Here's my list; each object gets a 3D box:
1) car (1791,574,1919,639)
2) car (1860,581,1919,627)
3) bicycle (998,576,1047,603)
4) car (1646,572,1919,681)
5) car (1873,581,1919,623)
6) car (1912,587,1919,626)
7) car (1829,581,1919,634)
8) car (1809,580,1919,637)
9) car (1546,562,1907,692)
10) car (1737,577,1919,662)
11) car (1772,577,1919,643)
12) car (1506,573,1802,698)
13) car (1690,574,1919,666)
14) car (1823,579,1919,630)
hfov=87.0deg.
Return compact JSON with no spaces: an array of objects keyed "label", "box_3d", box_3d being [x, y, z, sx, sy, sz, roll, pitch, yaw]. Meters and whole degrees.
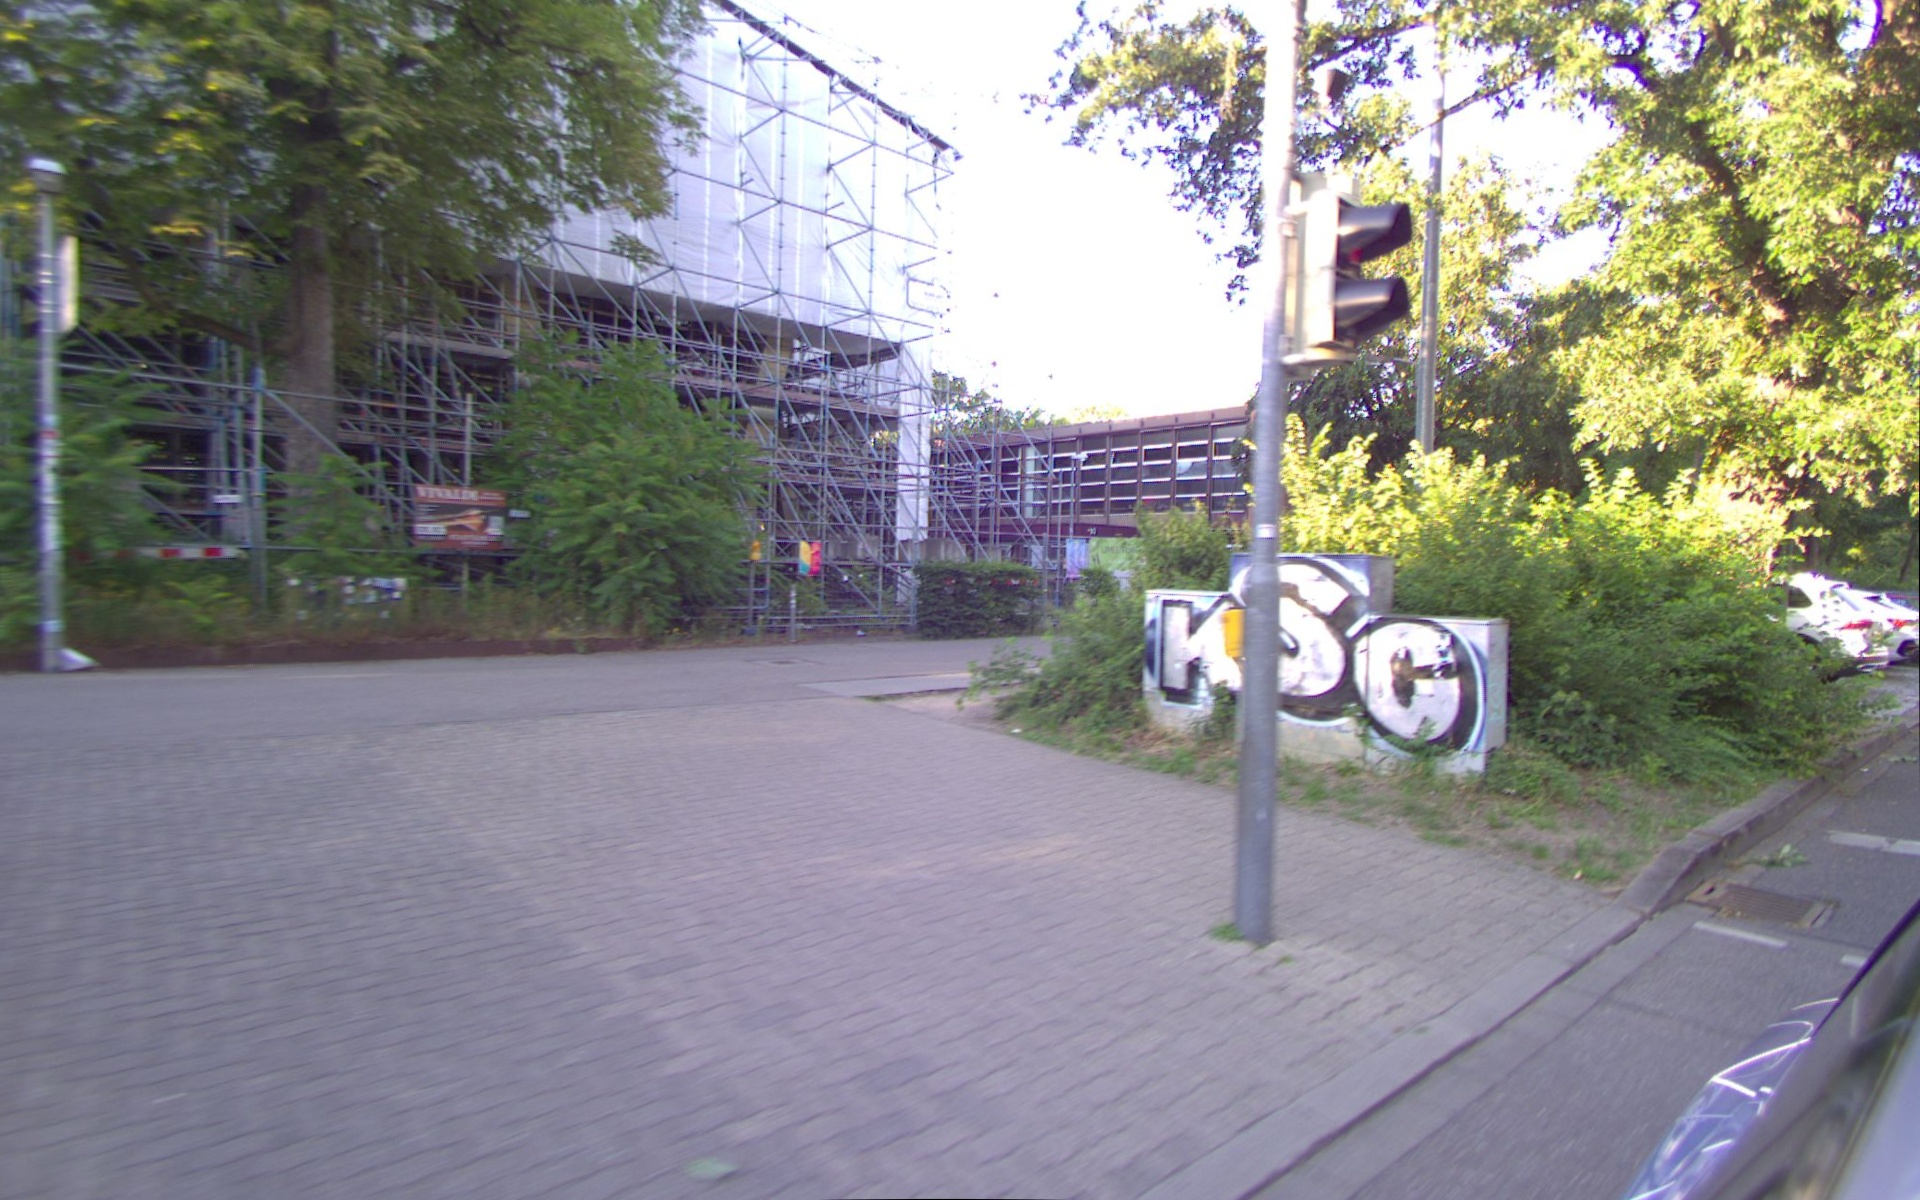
[{"label":"car","box_3d":[26.844,0.203,29.567,1.713,1.574,3.718,1,5,-44]},{"label":"car","box_3d":[34.845,0.257,36.065,1.725,1.492,3.819,2,5,-40]},{"label":"bicycle","box_3d":[2.836,-0.465,45.449,2.345,1.152,0.649,1,2,-40]},{"label":"car","box_3d":[15.439,0.406,18.777,1.692,1.688,4.132,1,2,-40]},{"label":"car","box_3d":[38.476,0.200,39.629,1.788,1.516,3.736,0,6,-40]},{"label":"car","box_3d":[40.933,0.365,40.717,1.705,1.572,3.672,1,2,-42]},{"label":"car","box_3d":[30.823,0.333,32.497,1.800,1.492,4.129,1,5,-42]},{"label":"car","box_3d":[28.629,0.314,30.803,1.799,1.471,3.936,1,5,-39]},{"label":"car","box_3d":[11.912,0.318,15.999,1.832,1.731,4.184,1,1,-36]},{"label":"car","box_3d":[19.275,0.388,21.808,1.668,1.614,3.751,1,2,-42]},{"label":"car","box_3d":[25.184,0.314,27.652,1.711,1.493,4.348,2,4,-42]},{"label":"car","box_3d":[9.828,0.427,14.459,1.657,1.511,3.196,1,1,-43]},{"label":"car","box_3d":[17.273,0.336,20.575,1.787,1.585,3.596,1,2,-41]},{"label":"car","box_3d":[32.428,0.190,34.838,1.799,1.492,3.819,0,6,-40]}]
